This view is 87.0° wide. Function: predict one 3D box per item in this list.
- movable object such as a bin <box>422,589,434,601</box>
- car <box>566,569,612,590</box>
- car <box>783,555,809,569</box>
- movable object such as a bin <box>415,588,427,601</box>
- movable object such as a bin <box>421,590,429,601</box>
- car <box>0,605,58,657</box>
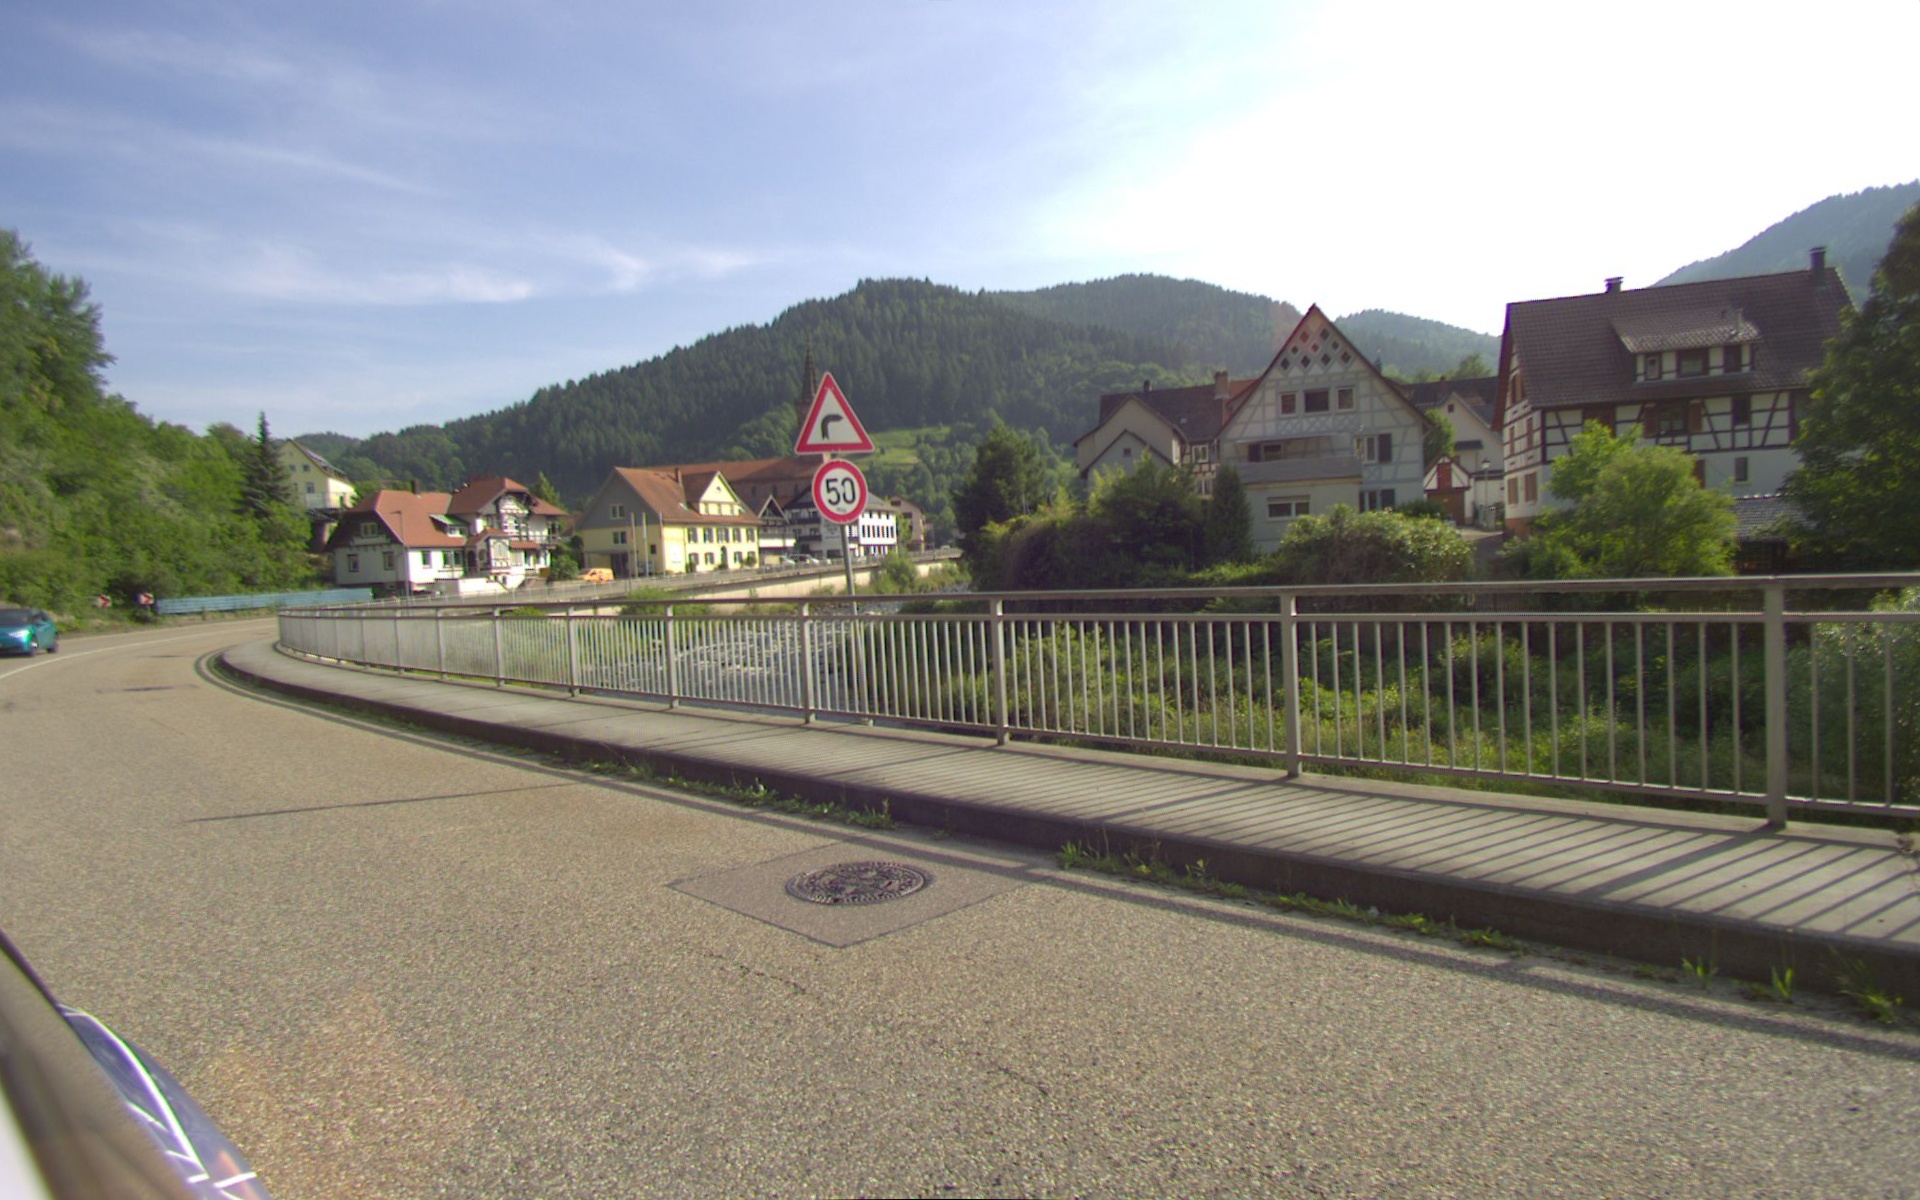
[{"bbox_3d":[-44.959,-0.418,85.537,0.468,0.943,0.649,-3,2,15],"label":"movable object such as a bin"},{"bbox_3d":[-39.532,-2.195,107.981,1.900,2.012,4.805,-2,2,19],"label":"car"},{"bbox_3d":[-24.376,-5.663,150.341,3.733,1.907,1.362,3,5,21],"label":"car"},{"bbox_3d":[-45.808,-0.453,86.021,0.474,1.070,0.749,-3,2,15],"label":"movable object such as a bin"},{"bbox_3d":[-45.383,-0.383,85.851,0.364,0.906,0.546,-3,2,8],"label":"movable object such as a bin"},{"bbox_3d":[-30.650,0.987,32.516,1.655,1.533,3.878,-3,1,-30],"label":"car"}]
